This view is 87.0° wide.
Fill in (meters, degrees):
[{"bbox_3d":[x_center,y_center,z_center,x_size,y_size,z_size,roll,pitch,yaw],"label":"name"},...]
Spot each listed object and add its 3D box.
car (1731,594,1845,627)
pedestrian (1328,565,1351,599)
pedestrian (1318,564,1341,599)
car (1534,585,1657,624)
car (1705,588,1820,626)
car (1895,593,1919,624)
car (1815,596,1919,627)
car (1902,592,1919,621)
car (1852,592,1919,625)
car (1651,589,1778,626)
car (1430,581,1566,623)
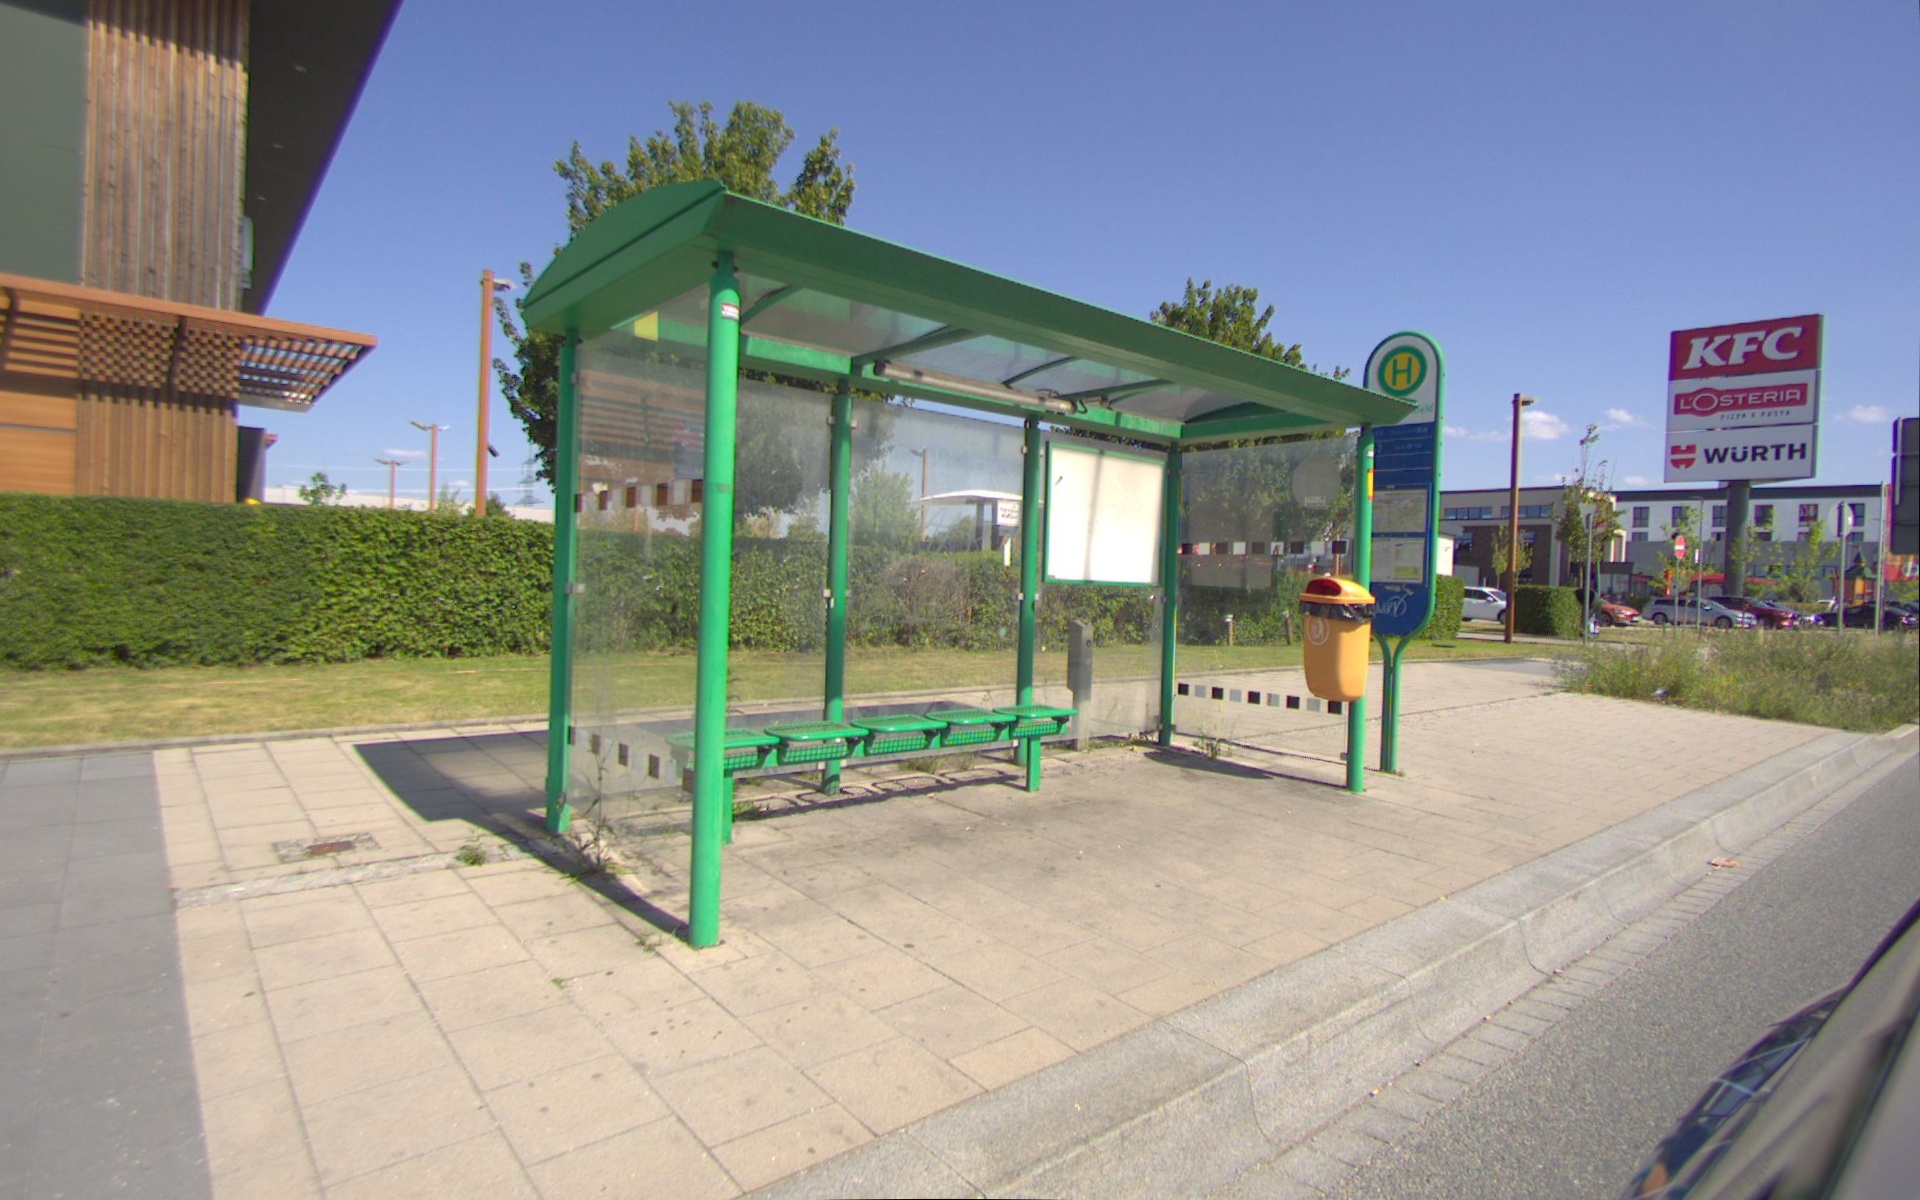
[{"bbox_3d":[42.988,0.509,52.637,1.755,1.467,4.173,1,2,-30],"label":"car"},{"bbox_3d":[22.787,-1.071,60.750,0.874,2.039,0.916,1,1,-35],"label":"pedestrian"},{"bbox_3d":[21.867,-1.080,59.912,0.874,2.039,0.916,1,1,-35],"label":"pedestrian"},{"bbox_3d":[28.153,0.189,44.934,1.832,1.508,4.222,1,2,-32],"label":"car"},{"bbox_3d":[40.807,0.348,51.554,1.830,1.686,4.176,2,2,-24],"label":"car"},{"bbox_3d":[57.036,0.591,58.157,1.753,1.756,4.431,2,2,-21],"label":"car"},{"bbox_3d":[49.688,0.612,55.100,1.753,1.467,4.431,2,2,-22],"label":"car"},{"bbox_3d":[59.649,0.496,60.102,1.899,1.756,5.010,2,2,-23],"label":"car"},{"bbox_3d":[53.986,0.517,57.644,1.753,1.756,4.431,2,2,-21],"label":"car"},{"bbox_3d":[36.748,0.343,49.398,1.830,1.508,4.578,2,2,-28],"label":"car"},{"bbox_3d":[21.808,0.055,41.188,1.832,1.508,4.545,1,2,-32],"label":"car"}]
